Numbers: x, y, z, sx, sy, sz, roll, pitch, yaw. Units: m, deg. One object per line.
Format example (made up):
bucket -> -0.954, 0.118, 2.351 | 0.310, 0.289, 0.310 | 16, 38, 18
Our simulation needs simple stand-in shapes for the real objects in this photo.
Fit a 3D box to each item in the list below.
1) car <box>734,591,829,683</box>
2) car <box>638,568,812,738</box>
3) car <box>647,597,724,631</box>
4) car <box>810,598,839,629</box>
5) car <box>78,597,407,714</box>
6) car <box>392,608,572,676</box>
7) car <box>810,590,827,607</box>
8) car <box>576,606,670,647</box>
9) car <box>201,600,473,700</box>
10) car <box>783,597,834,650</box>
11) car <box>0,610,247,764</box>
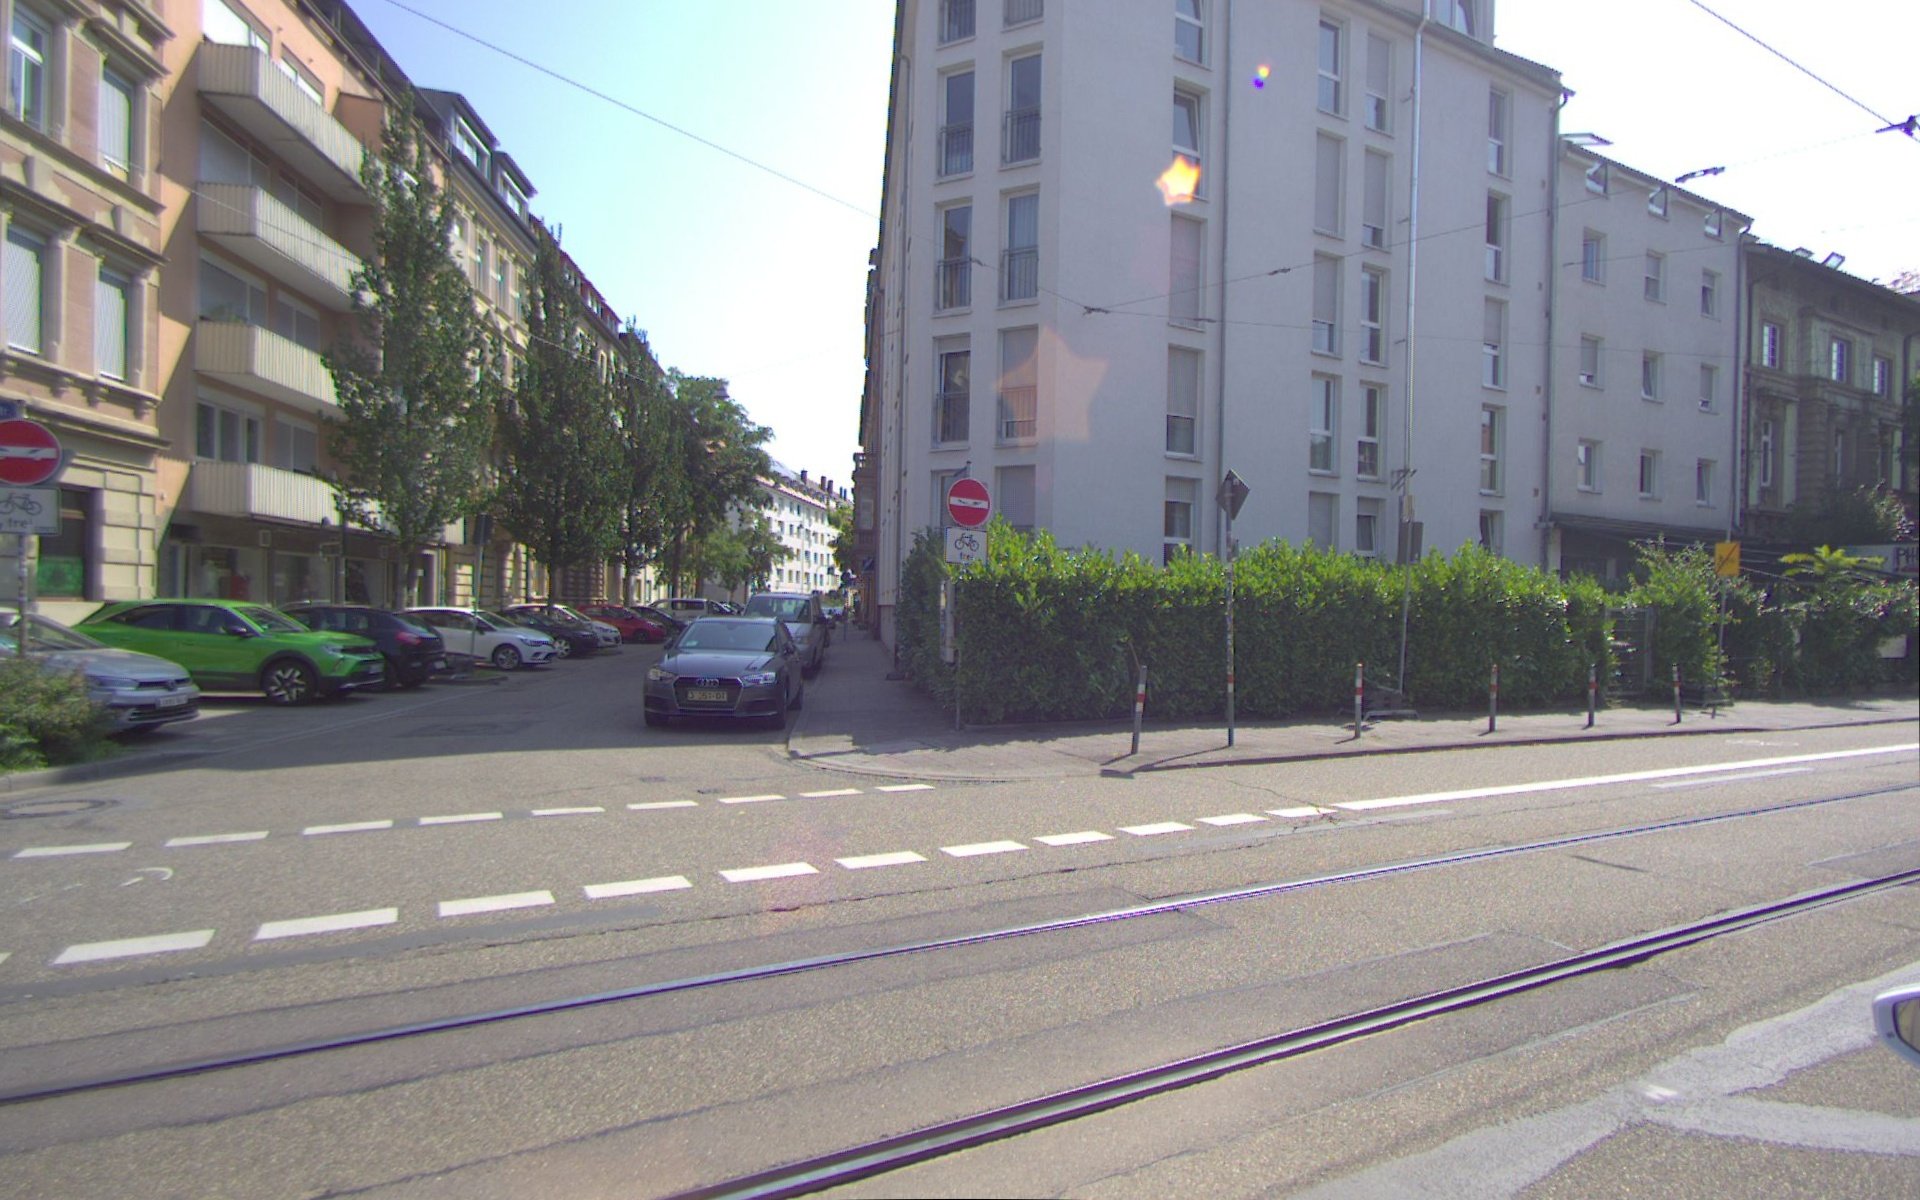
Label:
car -> -4.231, 0.822, 24.362 | 1.855, 2.015, 3.997 | 2, 0, -5
car -> -3.130, 0.646, 14.144 | 1.855, 2.015, 3.996 | 2, 0, -6
car -> -14.056, 0.715, 51.504 | 3.541, 1.610, 1.737 | 2, 0, -7
car -> -9.465, 0.933, 70.426 | 1.855, 2.015, 3.996 | 2, 0, -6
car -> -10.838, 0.818, 15.426 | 3.671, 1.595, 1.737 | 2, 0, -7
car -> -11.526, 1.003, 24.419 | 3.541, 1.476, 1.737 | 2, 0, -7
car -> -17.105, -0.171, 121.339 | 1.855, 2.015, 3.996 | 2, 0, -6
car -> -13.404, 1.034, 40.068 | 3.224, 1.476, 1.737 | 2, 0, -7
car -> -10.956, 0.856, 17.902 | 3.671, 1.595, 1.737 | 2, 0, -7
car -> -6.227, 0.926, 41.533 | 1.855, 2.015, 3.996 | 2, 0, -6
car -> -10.532, 0.869, 10.908 | 4.065, 1.508, 1.999 | 1, -1, -4
